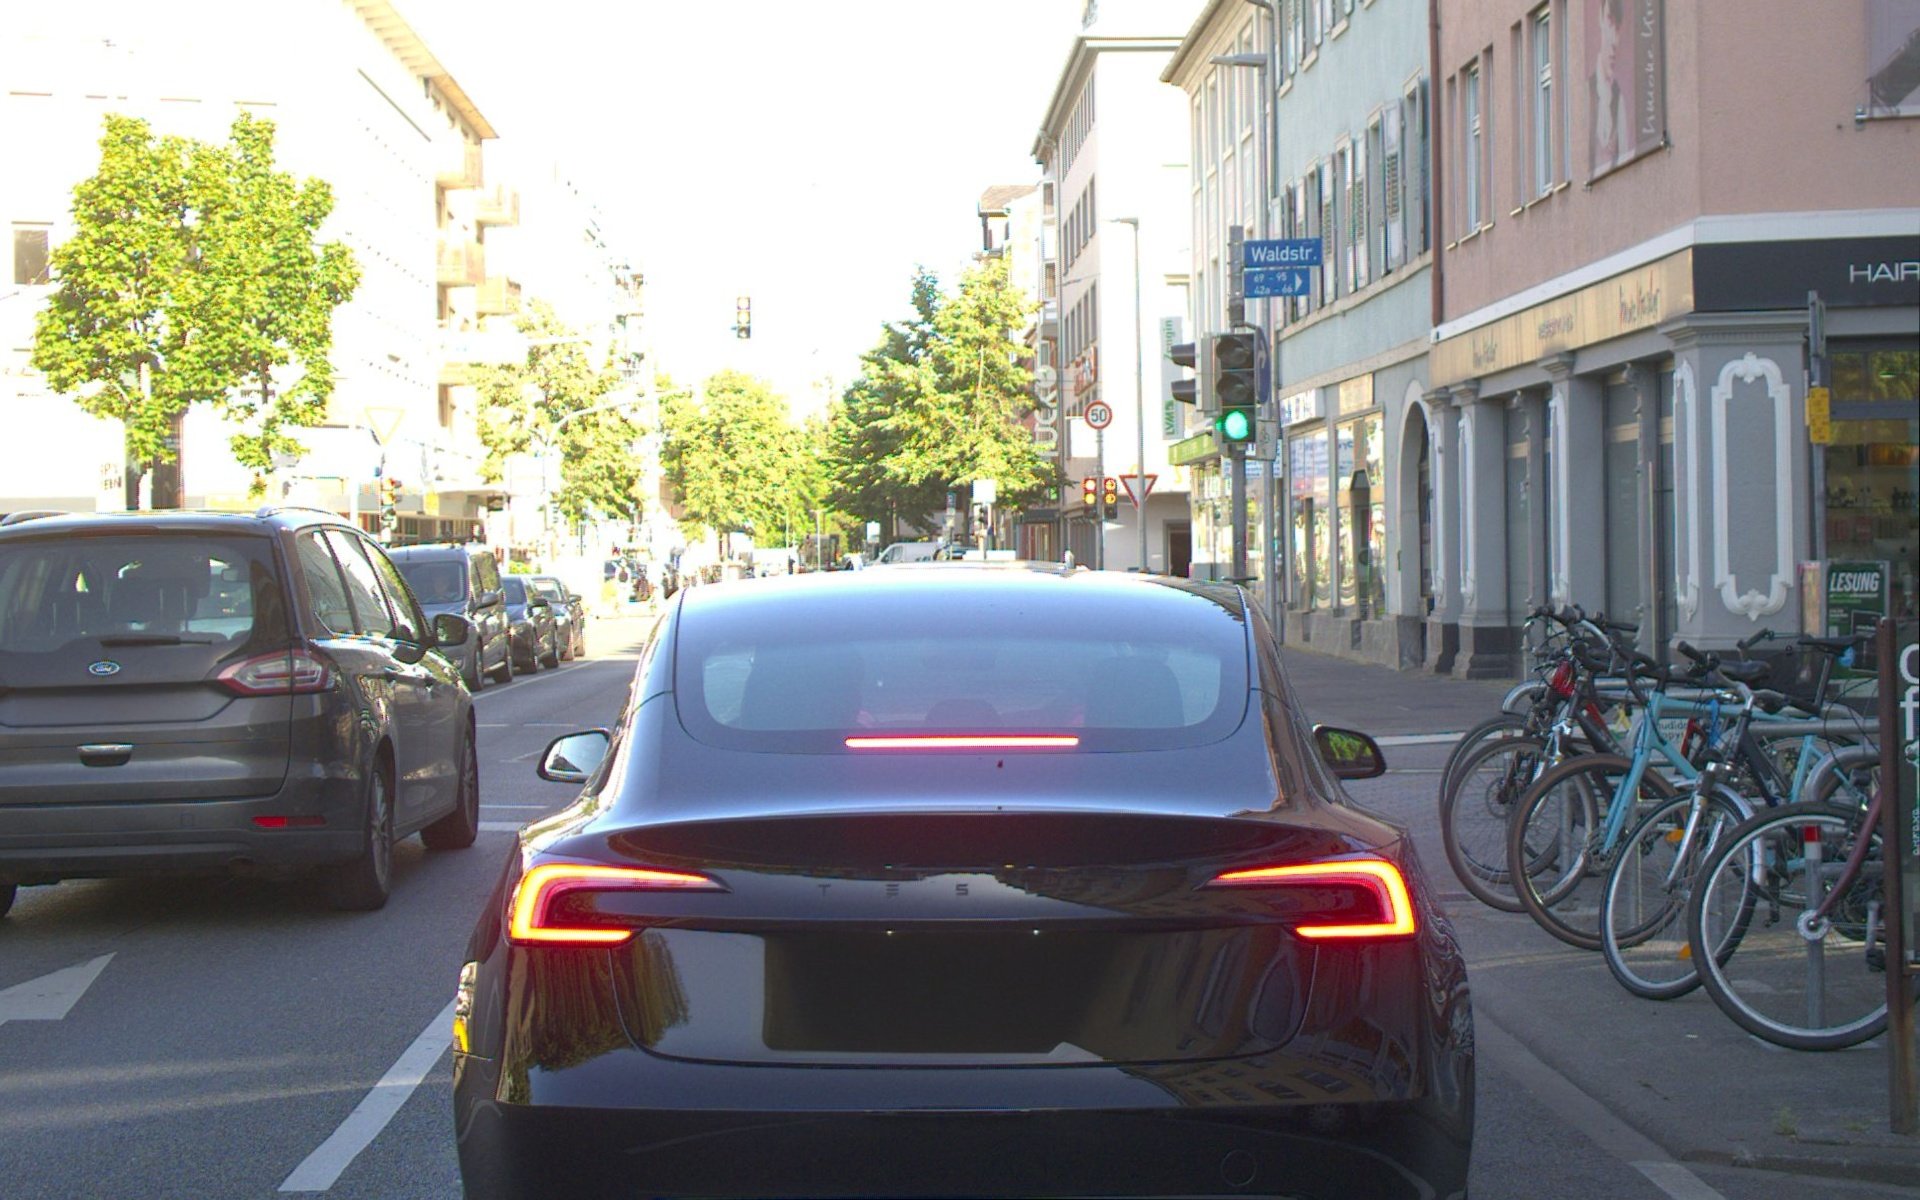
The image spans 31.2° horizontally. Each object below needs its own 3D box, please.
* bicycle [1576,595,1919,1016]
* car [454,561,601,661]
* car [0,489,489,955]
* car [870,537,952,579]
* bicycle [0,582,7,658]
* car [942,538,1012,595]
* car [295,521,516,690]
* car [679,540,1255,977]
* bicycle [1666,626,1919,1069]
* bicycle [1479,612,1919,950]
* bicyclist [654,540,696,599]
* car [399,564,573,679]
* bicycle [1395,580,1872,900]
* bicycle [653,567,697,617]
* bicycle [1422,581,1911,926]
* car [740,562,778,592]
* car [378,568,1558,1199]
[{"bbox_3d":[2.889,0.628,10.976,1.722,1.263,0.790,-2,1,5],"label":"bicycle"},{"bbox_3d":[-7.105,0.152,56.881,1.993,1.431,4.675,-4,1,-3],"label":"car"},{"bbox_3d":[-3.391,0.432,15.540,1.993,1.766,4.729,-1,1,-2],"label":"car"},{"bbox_3d":[-2.408,-2.056,167.412,3.986,2.007,2.000,0,1,-2],"label":"car"},{"bbox_3d":[-15.706,0.307,52.089,2.323,1.152,0.843,0,1,-5],"label":"bicycle"},{"bbox_3d":[0.478,-0.994,100.739,1.993,1.623,4.000,0,1,0],"label":"car"},{"bbox_3d":[-6.705,0.021,42.065,1.834,1.838,4.674,-4,1,0],"label":"car"},{"bbox_3d":[-0.043,0.513,13.967,1.993,1.507,4.176,0,1,-2],"label":"car"},{"bbox_3d":[3.035,0.677,9.844,1.886,1.189,0.691,-2,1,5],"label":"bicycle"},{"bbox_3d":[2.810,0.631,12.327,1.798,1.120,0.781,-2,1,5],"label":"bicycle"},{"bbox_3d":[-7.904,-0.859,95.472,1.126,1.623,0.965,0,1,-3],"label":"bicyclist"},{"bbox_3d":[-6.741,0.266,49.290,1.993,1.405,4.675,-4,1,-3],"label":"car"},{"bbox_3d":[2.813,0.579,14.536,1.862,1.253,0.832,-2,1,5],"label":"bicycle"},{"bbox_3d":[-7.887,-0.243,95.388,1.111,1.340,4.001,0,1,-3],"label":"bicycle"},{"bbox_3d":[2.744,0.584,13.506,1.746,1.262,0.781,-2,1,3],"label":"bicycle"},{"bbox_3d":[-10.929,-1.267,186.933,1.993,1.631,4.001,0,1,-3],"label":"car"},{"bbox_3d":[-0.007,0.663,7.396,1.848,1.450,4.000,0,1,-1],"label":"car"}]
